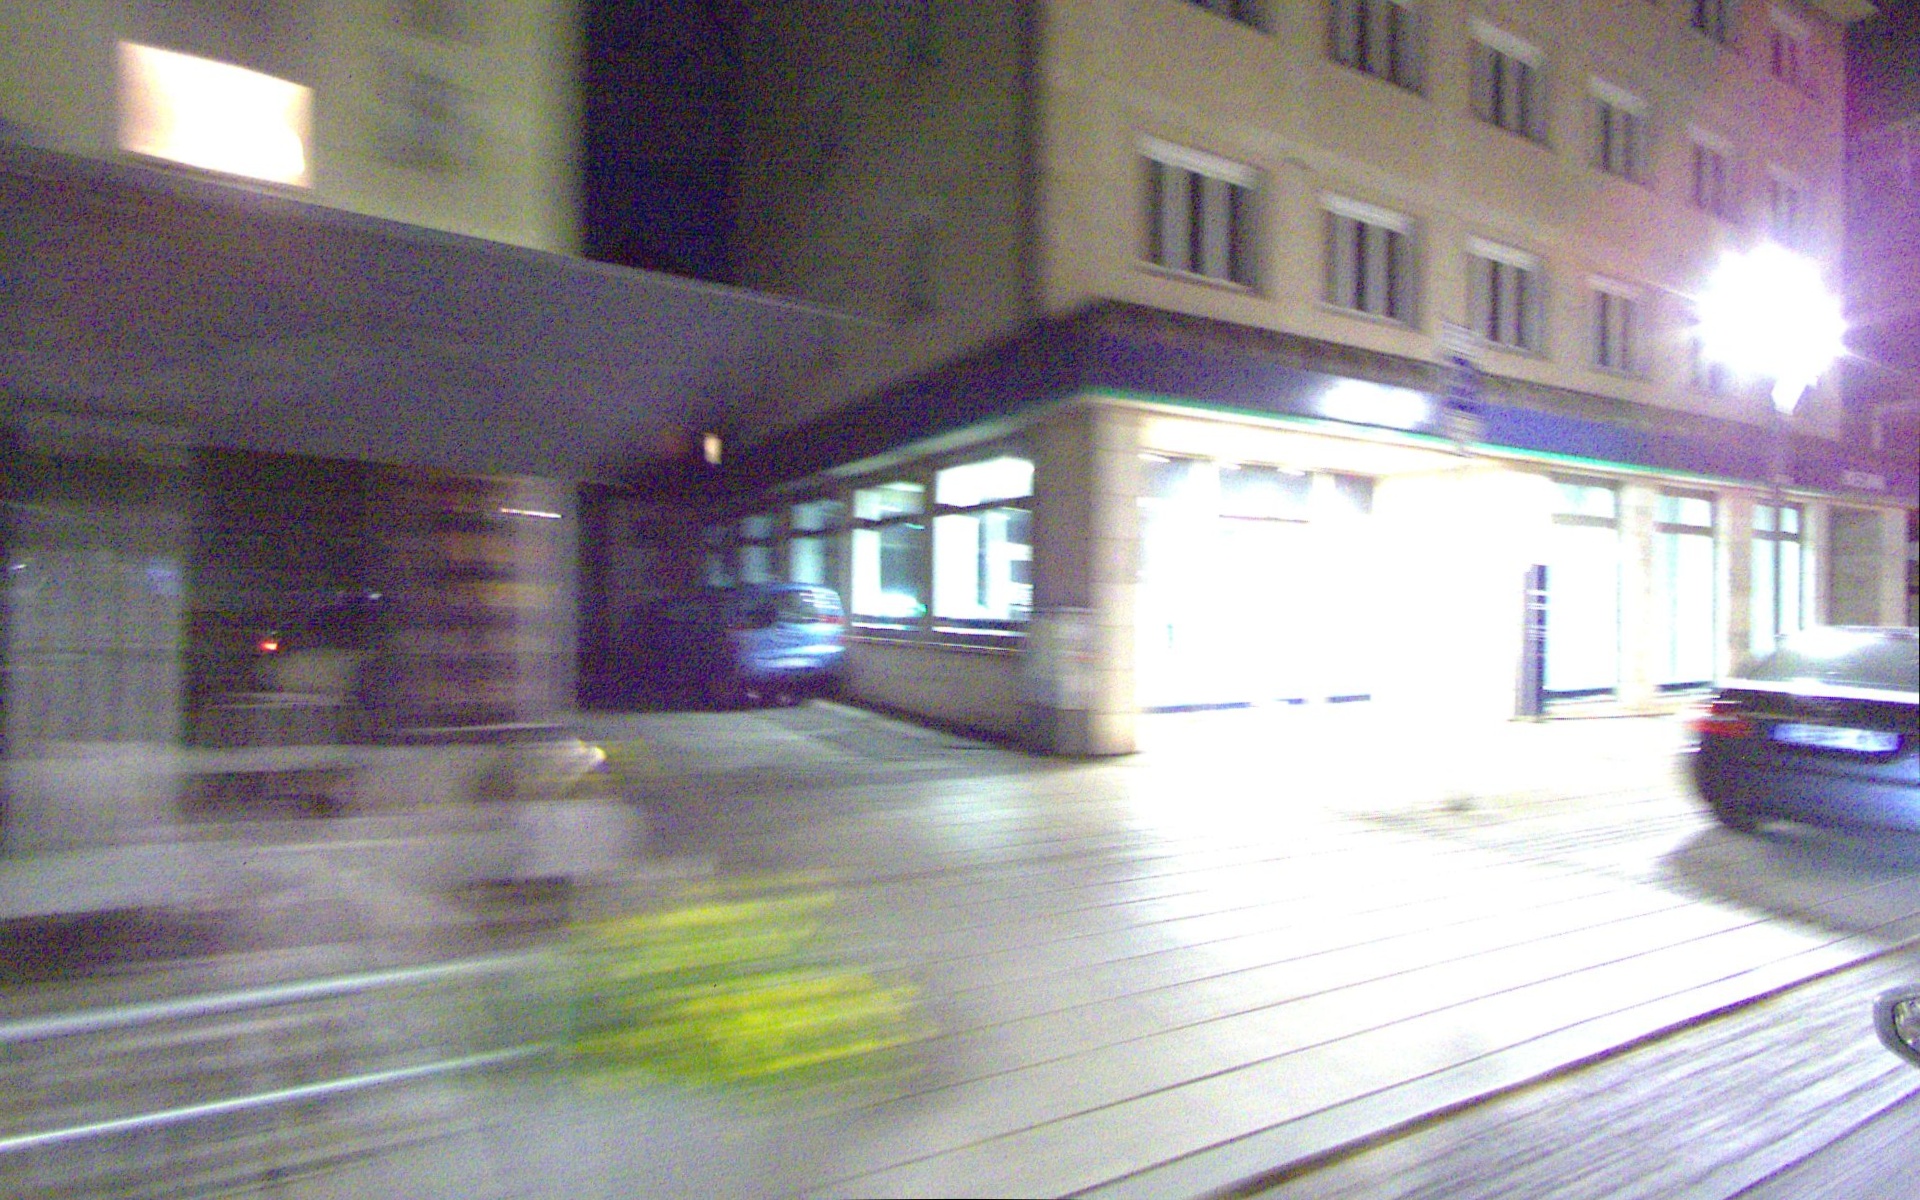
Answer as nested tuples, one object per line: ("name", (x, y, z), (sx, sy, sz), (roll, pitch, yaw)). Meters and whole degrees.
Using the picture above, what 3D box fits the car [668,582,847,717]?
("car", (-3.208, 0.635, 15.484), (1.750, 1.805, 3.410), (-1, 2, -29))

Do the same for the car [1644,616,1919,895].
("car", (6.865, 0.897, 7.001), (4.476, 1.490, 1.889), (1, 0, -33))
